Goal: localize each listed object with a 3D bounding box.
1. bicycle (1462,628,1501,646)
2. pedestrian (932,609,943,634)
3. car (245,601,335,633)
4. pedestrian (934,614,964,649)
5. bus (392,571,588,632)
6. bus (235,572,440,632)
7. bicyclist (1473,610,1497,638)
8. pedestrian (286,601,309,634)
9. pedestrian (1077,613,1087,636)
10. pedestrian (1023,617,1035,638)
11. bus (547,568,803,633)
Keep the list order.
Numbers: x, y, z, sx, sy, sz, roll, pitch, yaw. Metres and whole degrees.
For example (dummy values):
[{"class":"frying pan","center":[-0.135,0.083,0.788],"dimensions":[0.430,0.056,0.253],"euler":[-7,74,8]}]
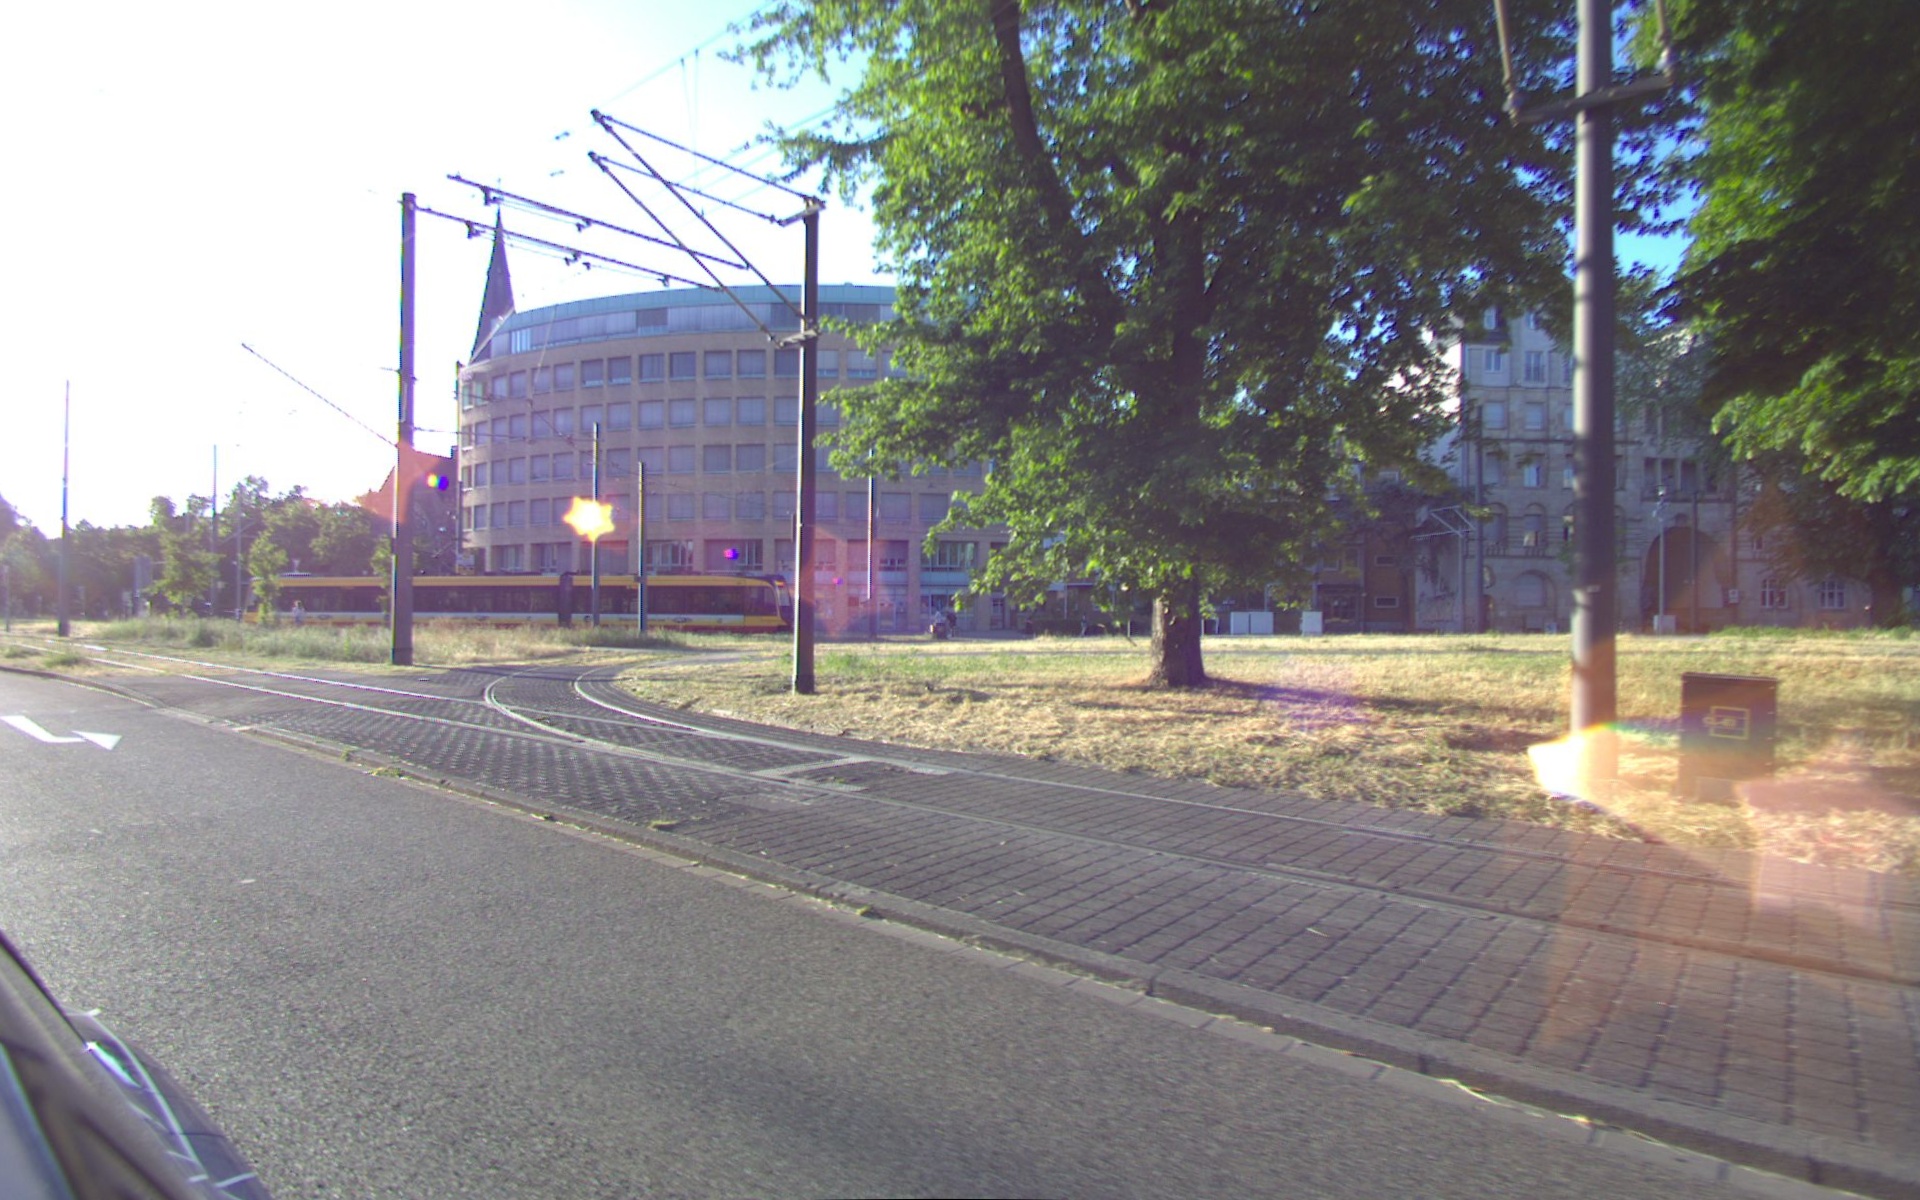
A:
[{"class":"bicycle","center":[31.592,2.237,61.326],"dimensions":[2.167,1.018,0.473],"euler":[0,0,-6]},{"class":"pedestrian","center":[-1.523,1.435,68.411],"dimensions":[0.614,1.705,0.527],"euler":[-1,0,23]},{"class":"car","center":[-62.322,1.566,94.375],"dimensions":[2.289,2.899,7.160],"euler":[-1,-1,17]},{"class":"pedestrian","center":[-0.672,1.945,62.472],"dimensions":[1.622,2.110,1.052],"euler":[-1,0,21]},{"class":"bus","center":[-27.490,0.146,59.228],"dimensions":[10.641,3.356,3.741],"euler":[-1,0,16]},{"class":"bus","center":[-38.414,0.176,62.444],"dimensions":[12.023,3.482,3.741],"euler":[-1,0,16]},{"class":"bicyclist","center":[31.810,1.440,61.343],"dimensions":[0.884,1.703,0.954],"euler":[0,0,-5]},{"class":"pedestrian","center":[-29.943,0.767,45.730],"dimensions":[0.698,1.470,0.664],"euler":[-1,0,36]},{"class":"pedestrian","center":[8.005,1.610,66.480],"dimensions":[0.571,1.550,0.564],"euler":[-1,0,14]},{"class":"pedestrian","center":[4.512,1.797,66.616],"dimensions":[0.677,1.334,0.564],"euler":[-1,0,16]},{"class":"bus","center":[-15.759,0.059,56.119],"dimensions":[13.576,3.388,3.745],"euler":[0,0,13]}]
